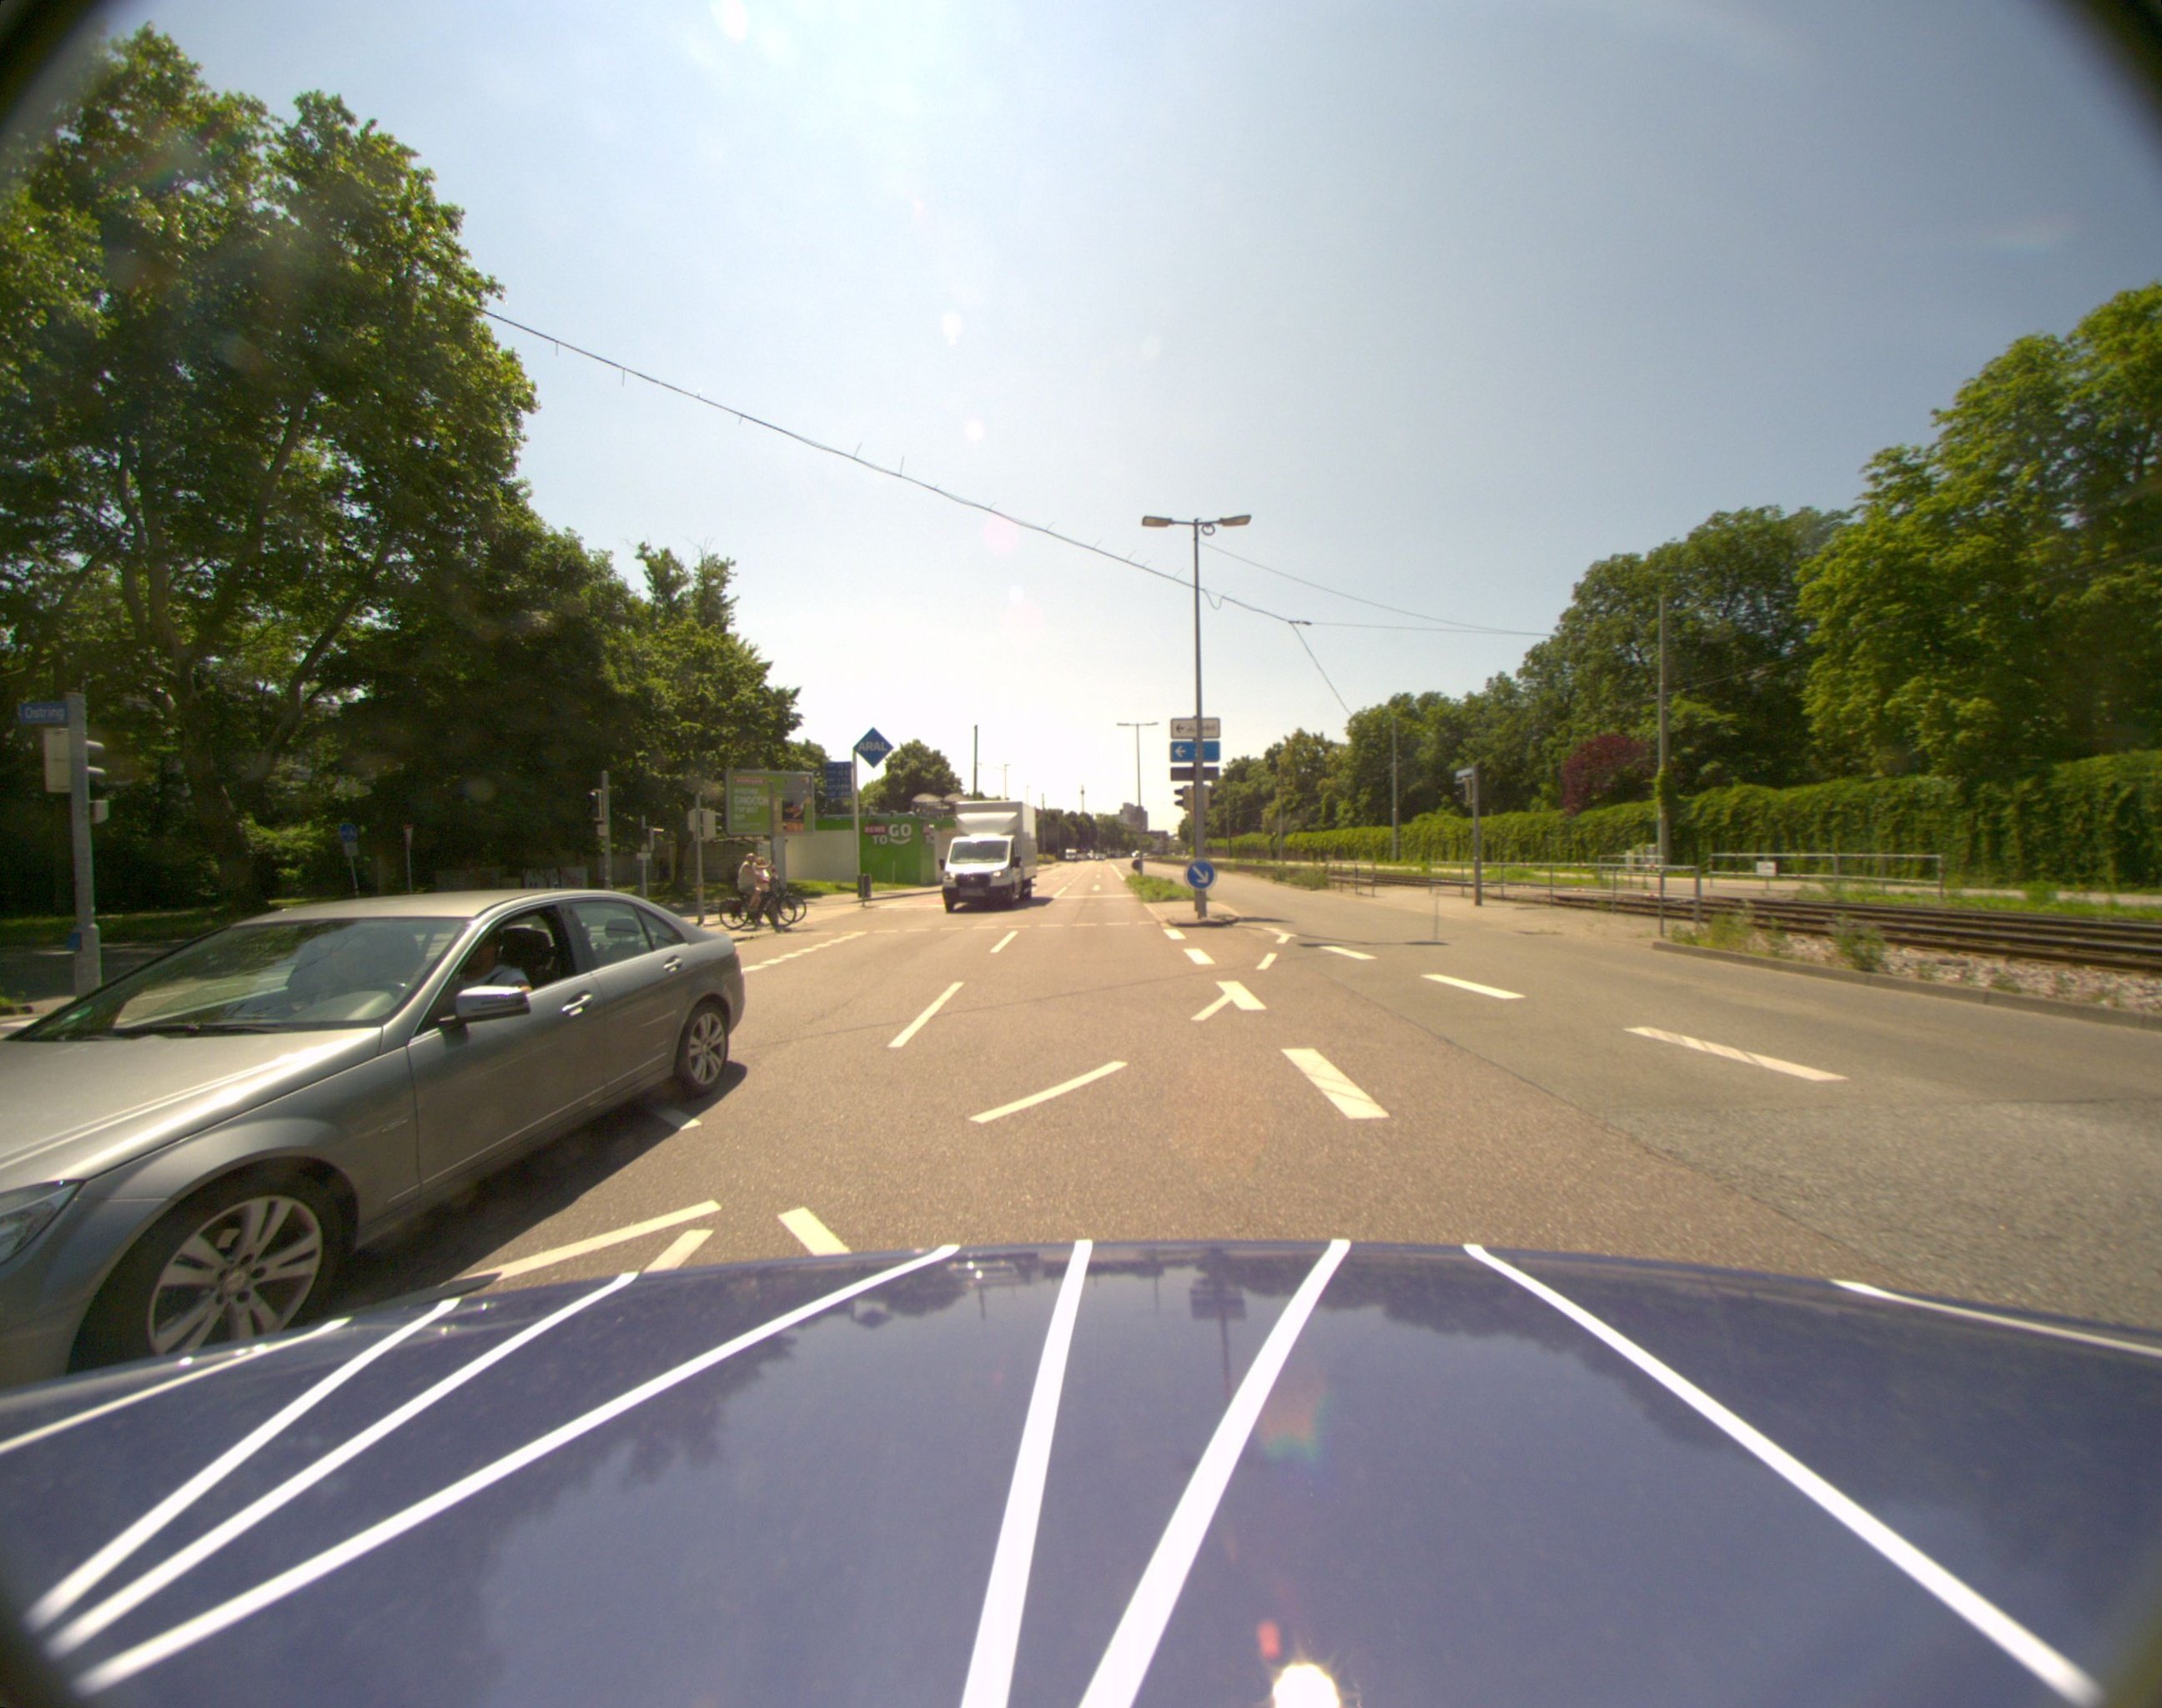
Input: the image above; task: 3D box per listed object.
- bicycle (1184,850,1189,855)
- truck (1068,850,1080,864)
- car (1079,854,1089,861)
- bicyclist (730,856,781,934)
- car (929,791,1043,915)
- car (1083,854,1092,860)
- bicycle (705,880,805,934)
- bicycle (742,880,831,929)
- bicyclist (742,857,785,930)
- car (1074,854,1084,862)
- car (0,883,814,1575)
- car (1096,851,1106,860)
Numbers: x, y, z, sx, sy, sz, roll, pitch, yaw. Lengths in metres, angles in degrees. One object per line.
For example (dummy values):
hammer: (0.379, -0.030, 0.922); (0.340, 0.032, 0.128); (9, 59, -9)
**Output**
bicycle: (21.173, -0.312, 152.635); (0.617, 1.049, 1.978); (-3, 1, 3)
truck: (-1.267, 0.603, 147.636); (1.998, 2.462, 5.237); (-3, 1, 2)
car: (0.739, 0.809, 173.702); (1.912, 1.488, 4.001); (-3, 1, 5)
bicyclist: (-7.749, 0.960, 18.129); (0.726, 1.777, 0.976); (-2, 1, -1)
car: (-2.839, -0.018, 25.210); (2.229, 3.316, 8.637); (-2, 0, 2)
car: (1.622, 0.710, 182.976); (1.912, 1.488, 4.001); (-3, 1, 5)
bicycle: (-7.700, 1.245, 18.016); (1.955, 1.152, 0.895); (-2, 1, -1)
bicycle: (-7.469, 1.281, 19.324); (1.870, 1.118, 0.895); (-2, 1, 9)
bicyclist: (-8.043, 0.990, 19.278); (0.578, 1.777, 0.768); (-3, 1, 9)
car: (-0.383, 0.867, 164.871); (1.912, 1.488, 4.001); (-3, 1, 5)
car: (-3.368, 1.031, 4.112); (1.717, 1.464, 5.302); (-3, 0, 2)
car: (4.096, 0.207, 154.946); (1.947, 1.674, 3.999); (-3, 1, 0)
